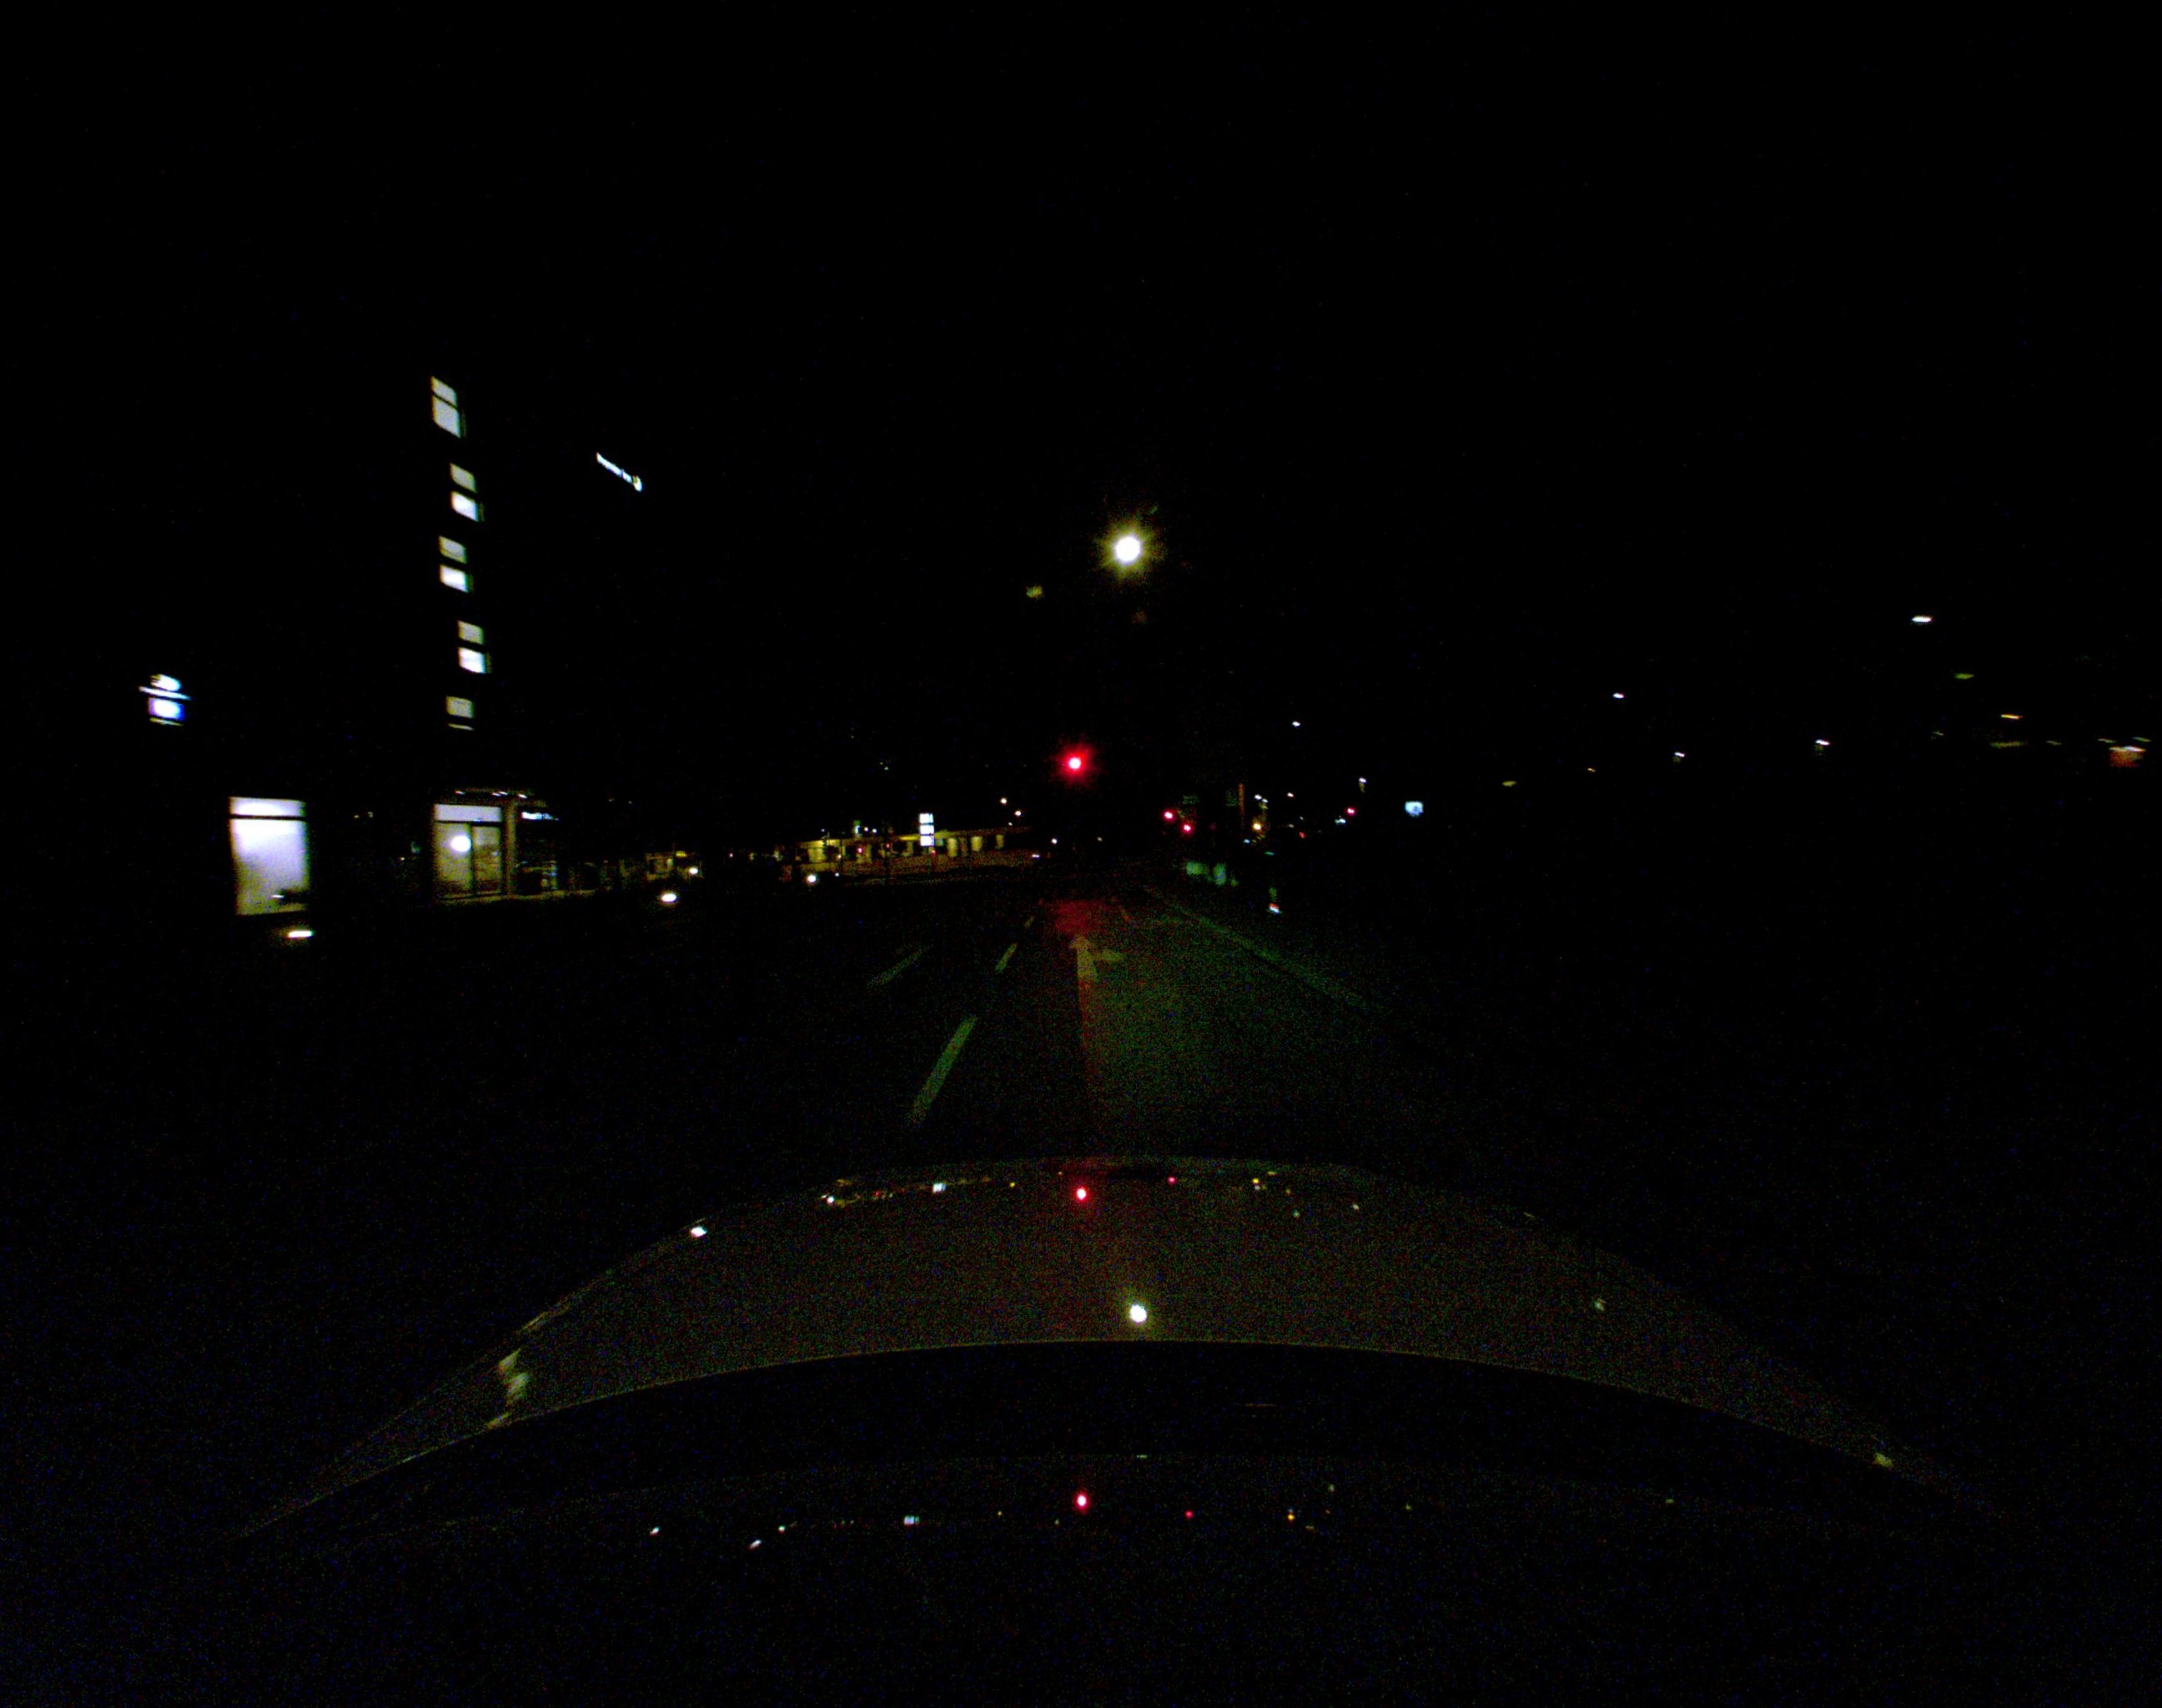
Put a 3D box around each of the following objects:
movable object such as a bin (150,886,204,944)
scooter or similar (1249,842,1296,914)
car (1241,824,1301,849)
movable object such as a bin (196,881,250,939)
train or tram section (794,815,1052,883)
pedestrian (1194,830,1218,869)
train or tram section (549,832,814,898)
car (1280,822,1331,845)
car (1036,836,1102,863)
[{"bbox_3d":[-23.002,1.539,20.732,0.355,1.370,0.732,-4,3,1],"label":"movable object such as a bin"},{"bbox_3d":[3.585,0.419,15.325,0.492,1.261,1.320,-5,0,1],"label":"scooter or similar"},{"bbox_3d":[15.946,-1.491,68.679,4.591,1.639,2.003,-5,0,5],"label":"car"},{"bbox_3d":[-22.796,1.471,21.645,0.438,1.451,0.809,-4,1,3],"label":"movable object such as a bin"},{"bbox_3d":[-11.995,-0.356,62.316,19.082,3.823,2.928,-4,0,5],"label":"train or tram section"},{"bbox_3d":[5.709,-0.220,37.303,0.895,1.712,0.776,-5,0,5],"label":"pedestrian"},{"bbox_3d":[-31.223,0.847,63.872,19.698,3.861,2.945,-4,0,5],"label":"train or tram section"},{"bbox_3d":[19.910,-1.829,72.284,4.035,1.615,1.873,-5,0,8],"label":"car"},{"bbox_3d":[-2.475,-0.987,164.935,12.406,4.709,4.786,-3,0,-15],"label":"car"}]
